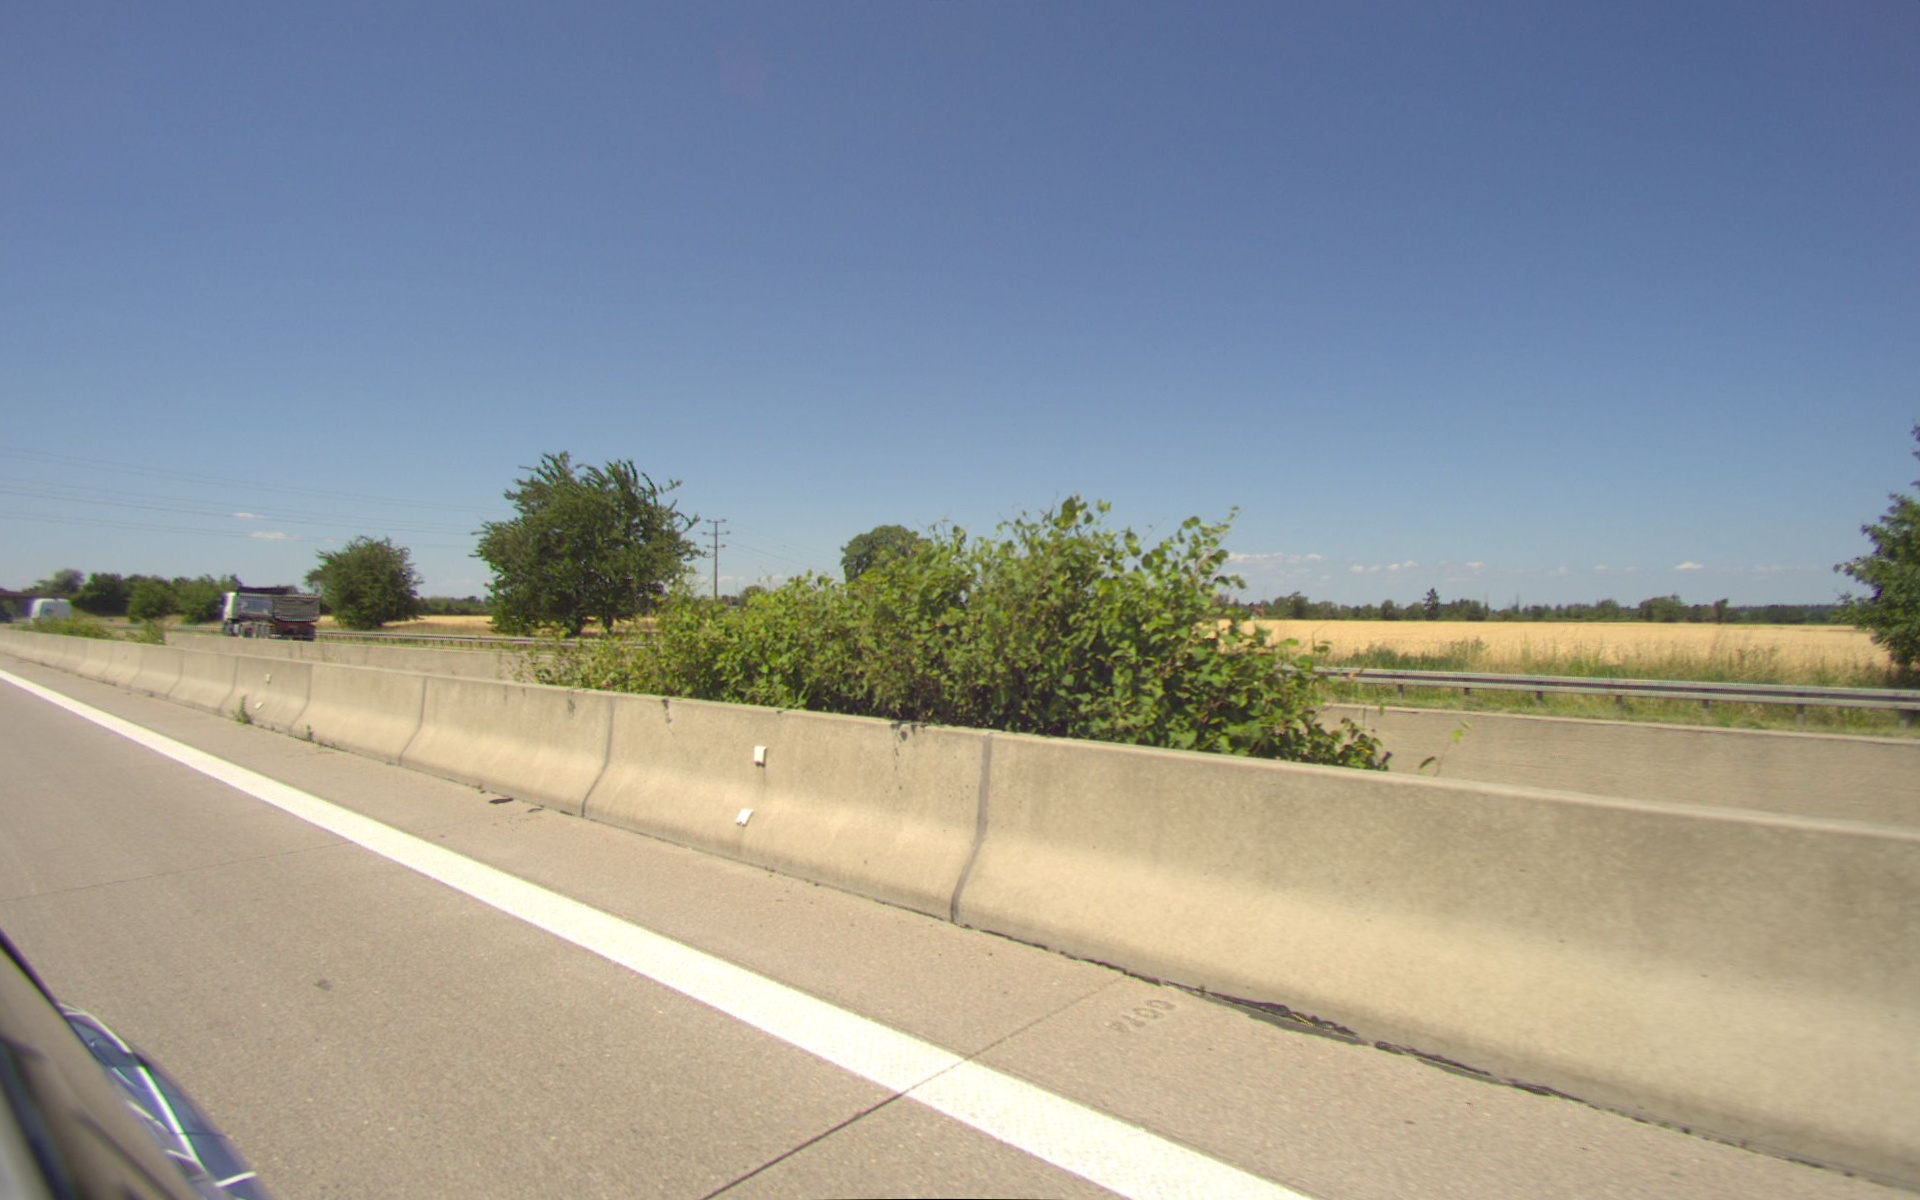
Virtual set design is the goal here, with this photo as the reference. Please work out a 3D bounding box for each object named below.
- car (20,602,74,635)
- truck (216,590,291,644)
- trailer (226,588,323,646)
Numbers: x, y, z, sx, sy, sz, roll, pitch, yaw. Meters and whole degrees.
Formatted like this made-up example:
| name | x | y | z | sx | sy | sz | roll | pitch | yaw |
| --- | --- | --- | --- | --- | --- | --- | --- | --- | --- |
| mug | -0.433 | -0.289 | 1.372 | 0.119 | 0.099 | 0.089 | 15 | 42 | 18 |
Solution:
| name | x | y | z | sx | sy | sz | roll | pitch | yaw |
| --- | --- | --- | --- | --- | --- | --- | --- | --- | --- |
| car | -64.445 | 1.285 | 71.389 | 6.324 | 2.205 | 2.187 | -1 | 0 | 42 |
| truck | -46.009 | 1.108 | 65.902 | 5.612 | 3.329 | 2.777 | -1 | 0 | 42 |
| trailer | -42.765 | 1.046 | 62.961 | 9.461 | 3.329 | 2.798 | -1 | 0 | 42 |
